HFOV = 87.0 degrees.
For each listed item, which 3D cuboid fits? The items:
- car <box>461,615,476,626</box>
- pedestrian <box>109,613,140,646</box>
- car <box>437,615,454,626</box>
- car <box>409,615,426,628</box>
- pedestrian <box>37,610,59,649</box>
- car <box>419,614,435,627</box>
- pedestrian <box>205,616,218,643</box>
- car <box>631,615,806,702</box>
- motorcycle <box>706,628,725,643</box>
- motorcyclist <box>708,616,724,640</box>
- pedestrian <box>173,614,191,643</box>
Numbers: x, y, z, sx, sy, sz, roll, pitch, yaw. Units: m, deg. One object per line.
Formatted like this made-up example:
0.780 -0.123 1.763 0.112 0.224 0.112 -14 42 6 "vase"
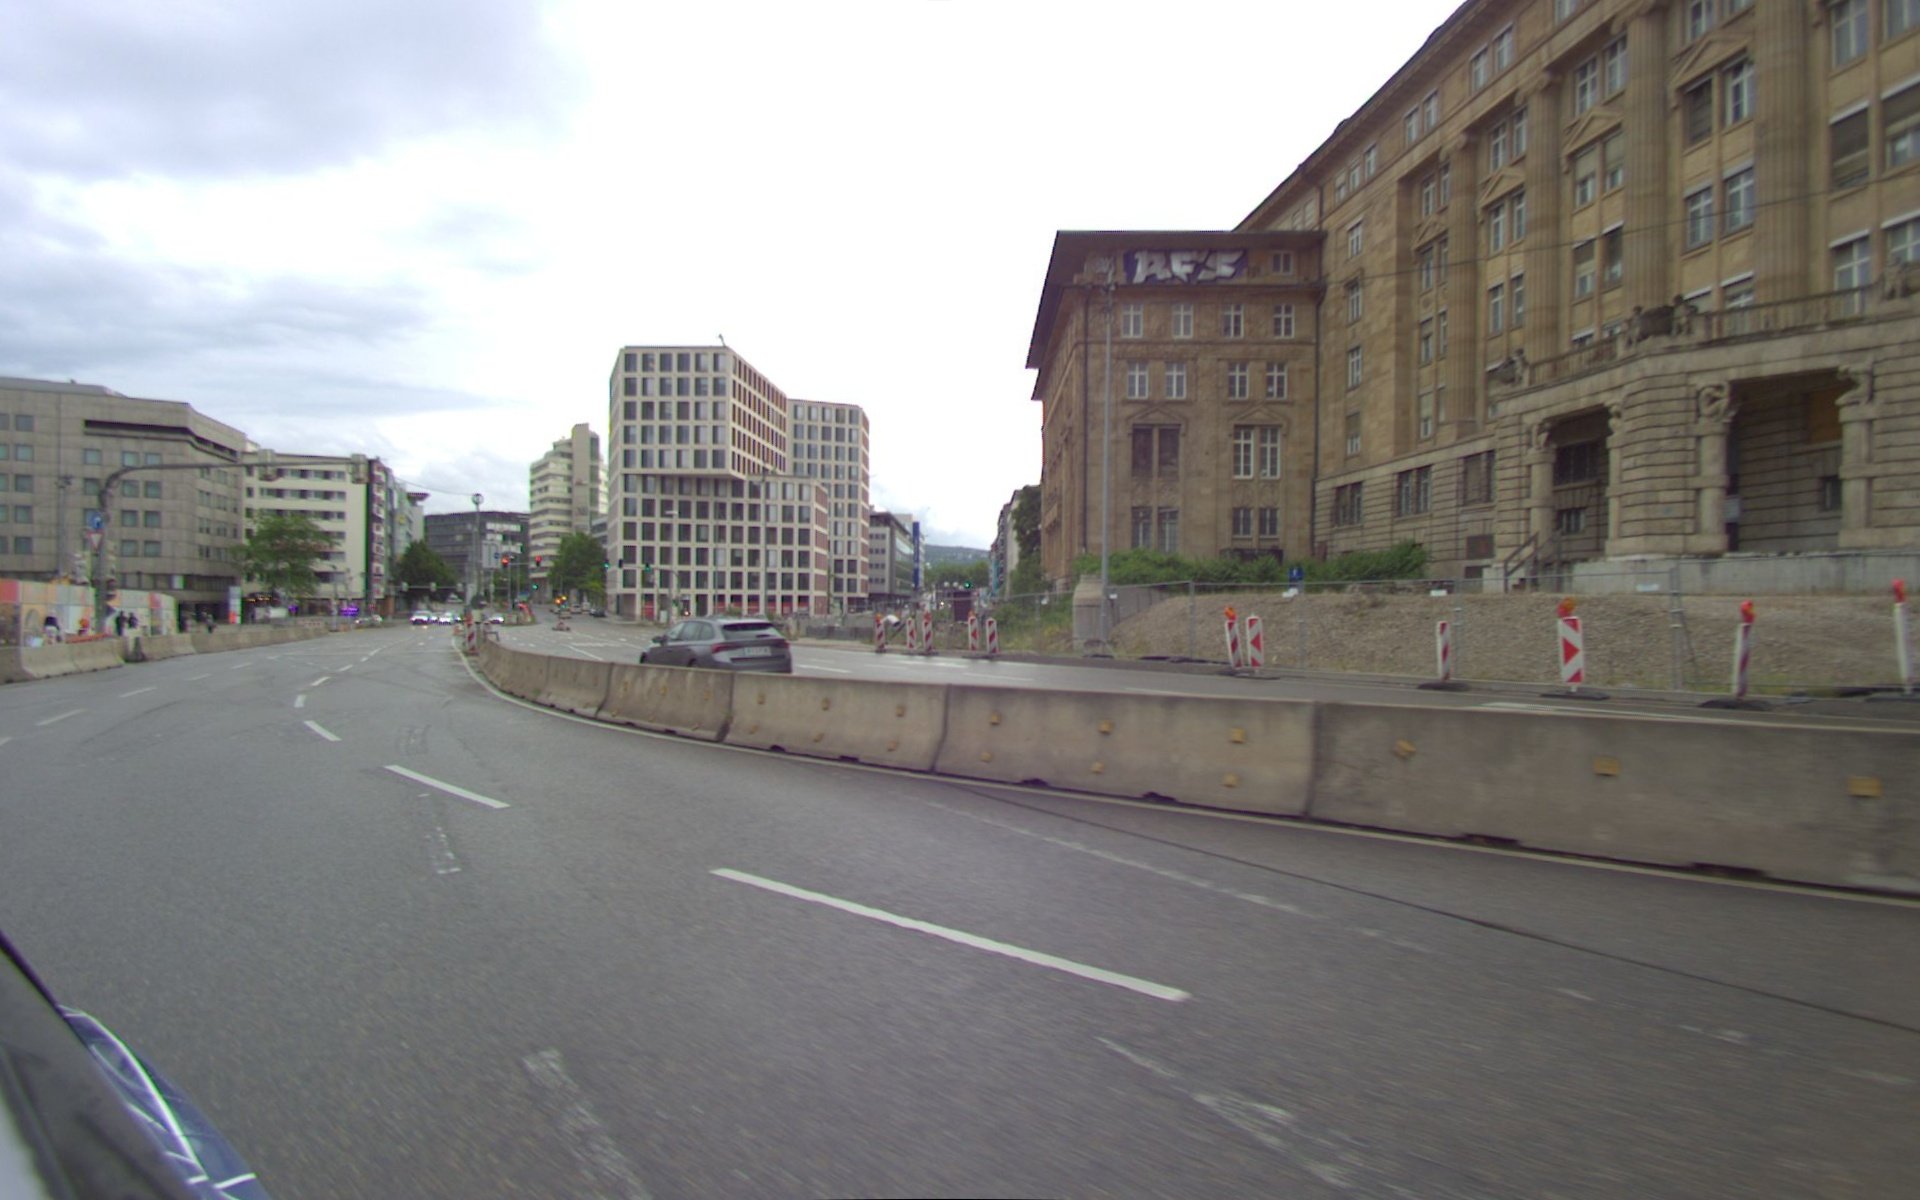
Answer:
-69.152 2.843 142.429 1.680 1.464 3.807 0 -1 -29 "car"
-46.605 1.652 56.453 1.081 1.774 0.909 2 -2 -24 "pedestrian"
-72.104 2.831 141.739 1.966 1.464 4.012 0 -1 -29 "car"
-75.686 2.973 141.136 1.966 1.838 4.012 0 -1 -29 "car"
-39.395 1.282 43.722 0.639 1.682 0.767 3 -3 -40 "pedestrian"
-78.609 3.061 149.247 1.966 1.863 4.012 0 -1 -29 "car"
-49.908 1.966 67.479 0.643 1.774 0.549 3 -3 -40 "pedestrian"
-4.928 1.081 20.232 1.743 1.533 4.396 1 -1 -38 "car"
-15.085 2.175 62.439 0.692 0.899 1.828 0 -1 -30 "motorcycle"
-15.065 1.709 62.410 0.692 1.498 0.965 0 -1 -30 "motorcyclist"
-46.933 1.717 61.061 0.745 1.774 0.767 3 -3 -40 "pedestrian"
